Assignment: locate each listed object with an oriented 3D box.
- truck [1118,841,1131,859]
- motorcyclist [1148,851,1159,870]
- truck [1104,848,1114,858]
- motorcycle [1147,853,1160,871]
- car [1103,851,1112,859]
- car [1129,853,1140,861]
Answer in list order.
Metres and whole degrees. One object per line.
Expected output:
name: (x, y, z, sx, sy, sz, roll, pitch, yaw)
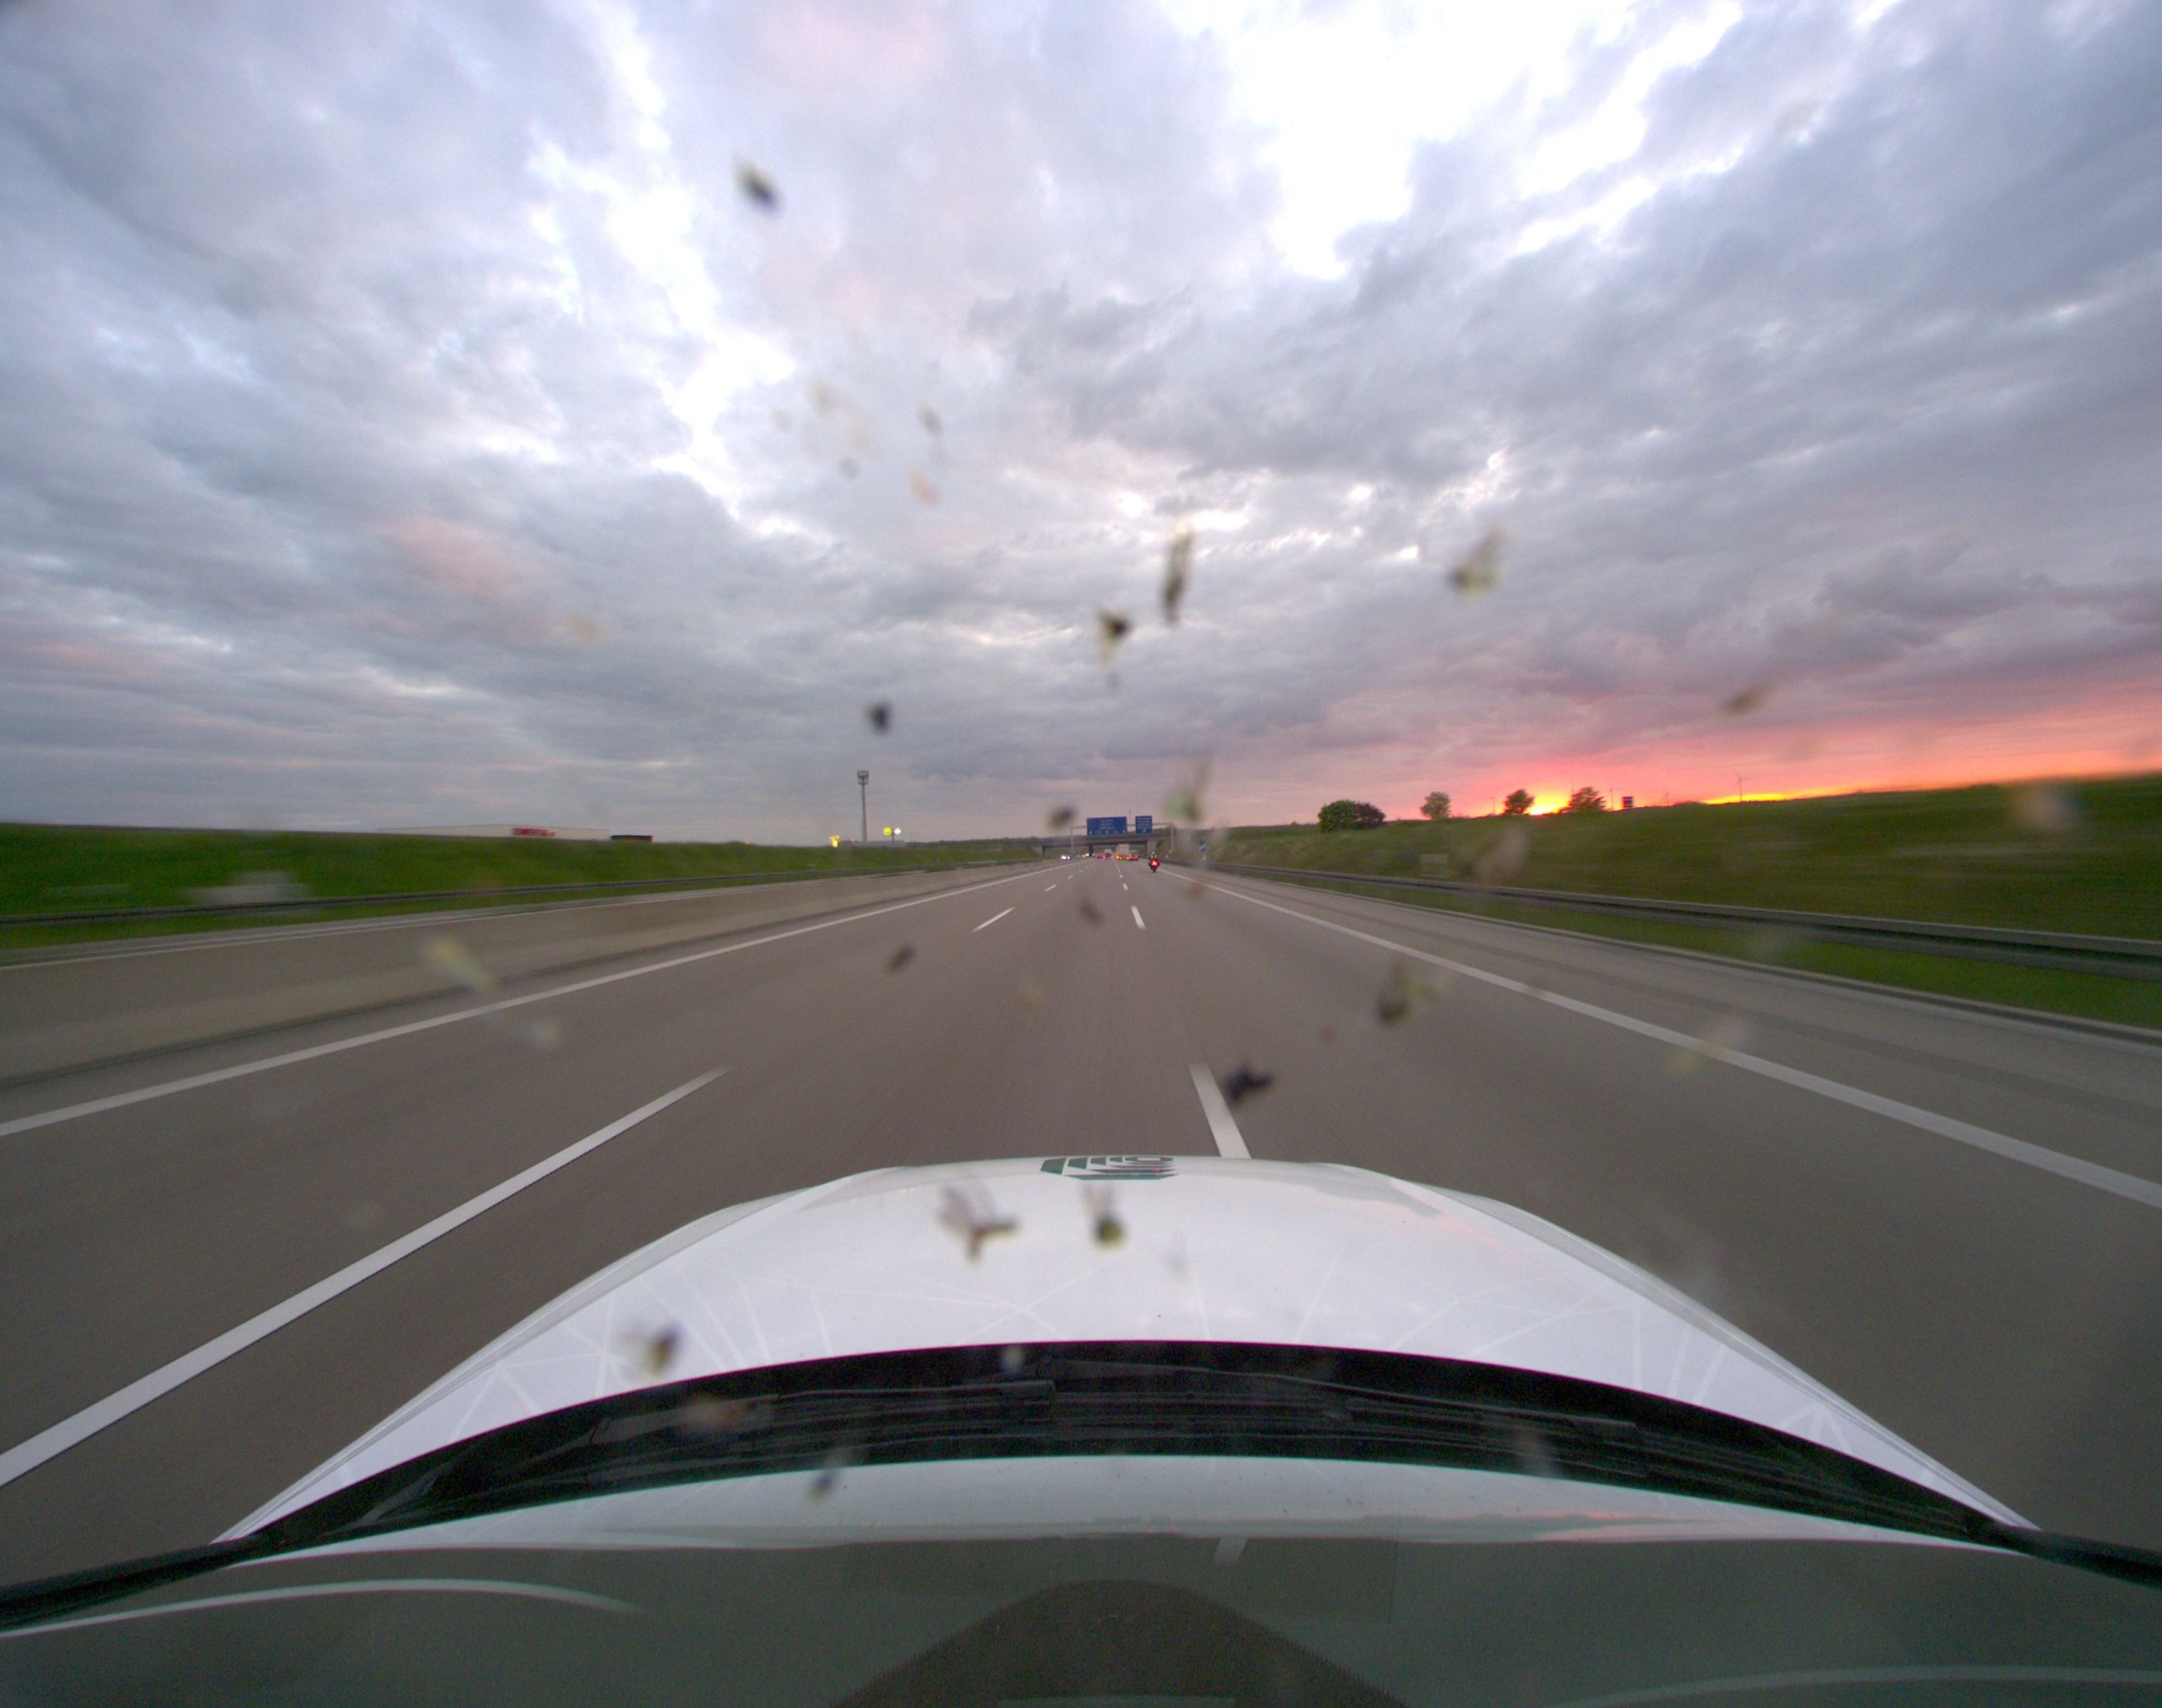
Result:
truck: (10.894, -1.031, 206.094, 3.221, 4.227, 9.605, 0, 1, 3)
motorcyclist: (5.901, 0.542, 65.935, 0.862, 1.487, 1.169, 0, 0, 4)
truck: (9.087, -0.300, 264.303, 2.941, 3.217, 8.409, 0, 1, 2)
motorcycle: (5.899, 0.631, 66.056, 0.898, 1.346, 2.350, -1, 1, 3)
car: (8.004, 0.280, 248.046, 2.507, 2.391, 6.498, -2, 0, 1)
car: (10.731, 0.589, 164.099, 1.911, 1.579, 4.001, -2, 0, 1)
